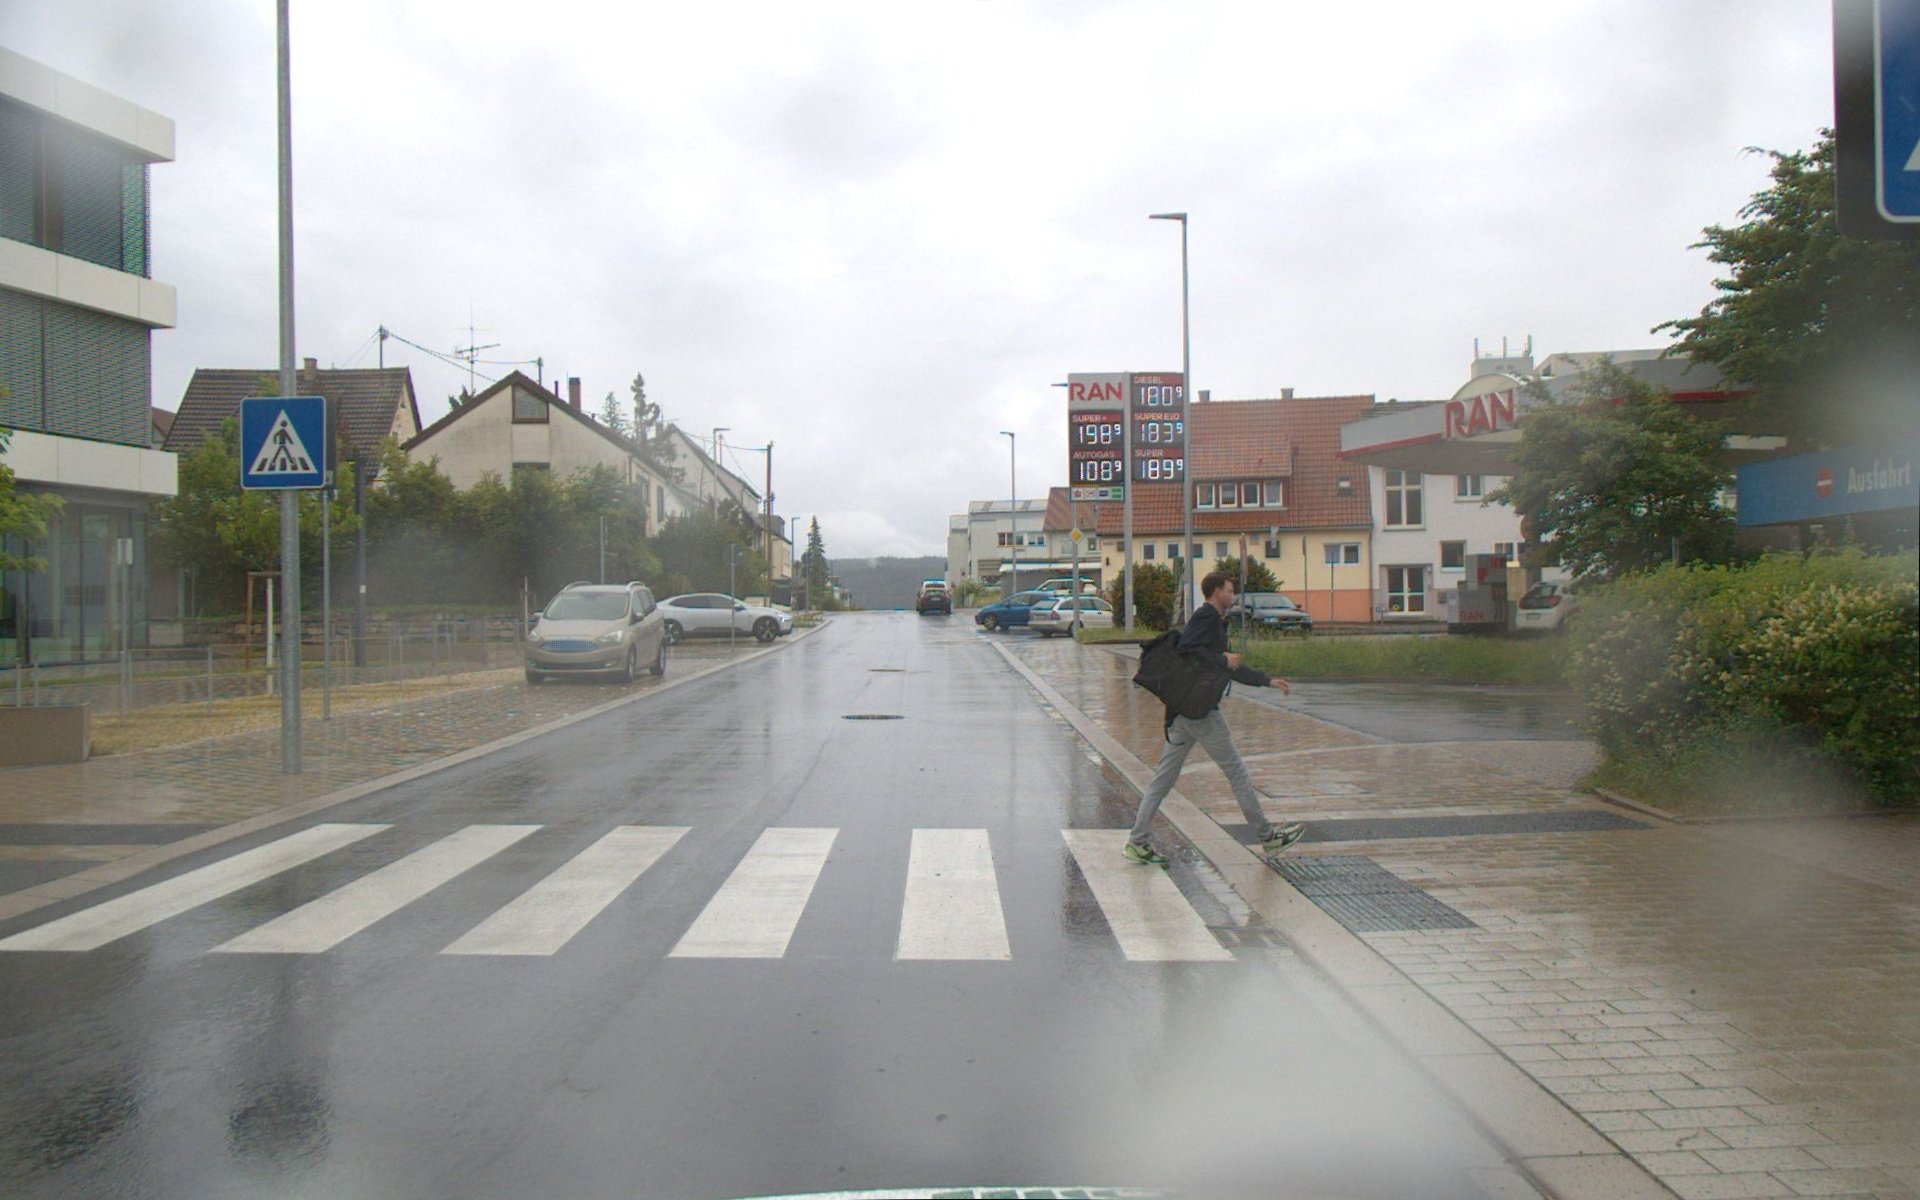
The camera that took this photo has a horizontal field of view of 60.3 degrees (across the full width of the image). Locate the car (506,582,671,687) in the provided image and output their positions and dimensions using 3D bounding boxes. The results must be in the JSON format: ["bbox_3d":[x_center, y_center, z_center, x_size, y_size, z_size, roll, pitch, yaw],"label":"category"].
[{"bbox_3d":[-6.343,0.547,28.697,1.953,1.657,4.152,-1,0,-1],"label":"car"}]

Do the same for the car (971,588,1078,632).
[{"bbox_3d":[2.607,0.412,66.424,3.903,1.519,1.859,2,-2,16],"label":"car"}]

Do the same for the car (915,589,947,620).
[{"bbox_3d":[-1.852,0.316,107.157,1.953,1.736,3.999,3,-2,-1],"label":"car"}]

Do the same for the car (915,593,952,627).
[{"bbox_3d":[-1.495,0.572,94.252,1.953,1.736,3.999,3,-2,-1],"label":"car"}]

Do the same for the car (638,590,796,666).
[{"bbox_3d":[-7.575,0.885,51.445,4.671,2.049,1.993,4,-2,-13],"label":"car"}]

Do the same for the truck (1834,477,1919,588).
[{"bbox_3d":[20.350,-1.397,34.330,1.955,2.049,3.994,3,-2,-6],"label":"truck"}]

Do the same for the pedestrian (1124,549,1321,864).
[{"bbox_3d":[1.504,0.593,9.622,0.993,1.754,0.772,0,0,-3],"label":"pedestrian"}]

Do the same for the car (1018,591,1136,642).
[{"bbox_3d":[4.214,0.588,59.258,3.961,1.583,1.927,5,-3,-39],"label":"car"}]

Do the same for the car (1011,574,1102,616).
[{"bbox_3d":[4.560,-0.221,78.579,4.031,1.736,1.787,3,-2,-4],"label":"car"}]

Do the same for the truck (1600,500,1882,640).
[{"bbox_3d":[22.989,-0.788,48.704,7.596,3.505,2.668,4,-2,-16],"label":"truck"}]

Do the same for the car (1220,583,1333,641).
[{"bbox_3d":[9.645,0.401,50.700,1.959,1.579,3.987,3,-2,-12],"label":"car"}]

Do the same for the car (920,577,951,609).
[{"bbox_3d":[-1.497,-0.397,101.032,1.746,1.736,3.999,3,-2,-1],"label":"car"}]

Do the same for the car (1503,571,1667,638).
[{"bbox_3d":[15.664,0.132,41.483,3.465,1.583,1.942,1,-1,-21],"label":"car"}]
